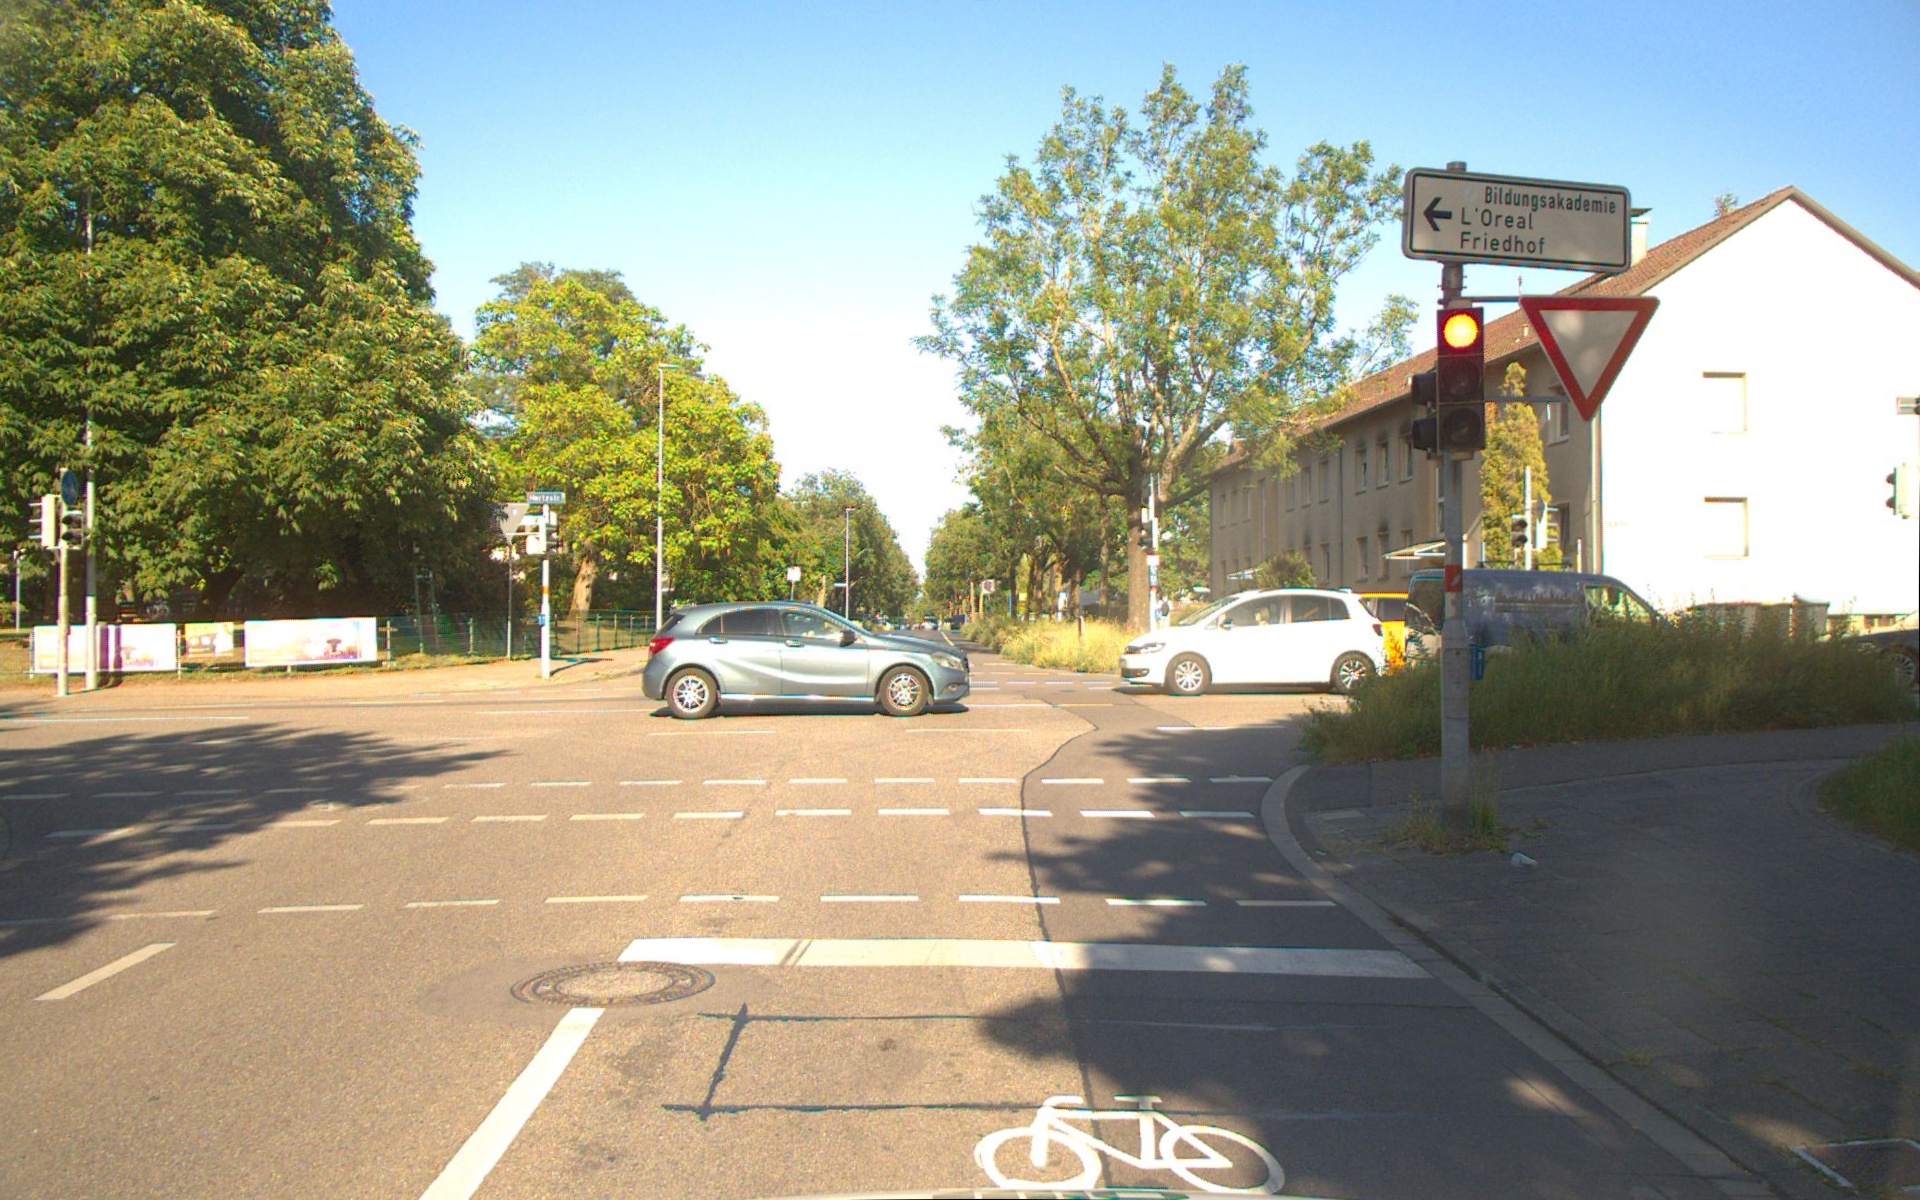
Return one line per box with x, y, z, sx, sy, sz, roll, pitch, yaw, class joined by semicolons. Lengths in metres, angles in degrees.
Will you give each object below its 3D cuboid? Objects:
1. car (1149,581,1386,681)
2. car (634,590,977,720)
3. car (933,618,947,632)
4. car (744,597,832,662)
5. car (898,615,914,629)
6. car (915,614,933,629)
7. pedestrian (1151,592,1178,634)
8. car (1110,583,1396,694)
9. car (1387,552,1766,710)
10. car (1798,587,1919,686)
5.275;0.514;28.644;3.902;1.610;1.759;1;-1;9;car
-1.935;0.672;21.387;4.198;1.515;1.912;-1;0;-3;car
-2.642;3.324;219.150;1.737;1.785;3.999;1;0;-1;car
-3.959;0.659;38.548;1.676;1.410;3.471;0;0;0;car
-6.338;2.562;194.353;1.722;1.653;3.268;0;0;0;car
-3.583;2.135;166.051;1.807;1.487;3.529;0;0;-1;car
7.636;0.478;61.821;0.825;1.519;0.924;2;0;-1;pedestrian
4.459;0.580;25.475;4.026;1.591;1.756;1;-1;-5;car
7.980;0.373;21.626;4.260;1.920;1.858;-1;0;-5;car
15.891;0.524;26.005;4.644;1.455;1.994;0;0;-12;car
